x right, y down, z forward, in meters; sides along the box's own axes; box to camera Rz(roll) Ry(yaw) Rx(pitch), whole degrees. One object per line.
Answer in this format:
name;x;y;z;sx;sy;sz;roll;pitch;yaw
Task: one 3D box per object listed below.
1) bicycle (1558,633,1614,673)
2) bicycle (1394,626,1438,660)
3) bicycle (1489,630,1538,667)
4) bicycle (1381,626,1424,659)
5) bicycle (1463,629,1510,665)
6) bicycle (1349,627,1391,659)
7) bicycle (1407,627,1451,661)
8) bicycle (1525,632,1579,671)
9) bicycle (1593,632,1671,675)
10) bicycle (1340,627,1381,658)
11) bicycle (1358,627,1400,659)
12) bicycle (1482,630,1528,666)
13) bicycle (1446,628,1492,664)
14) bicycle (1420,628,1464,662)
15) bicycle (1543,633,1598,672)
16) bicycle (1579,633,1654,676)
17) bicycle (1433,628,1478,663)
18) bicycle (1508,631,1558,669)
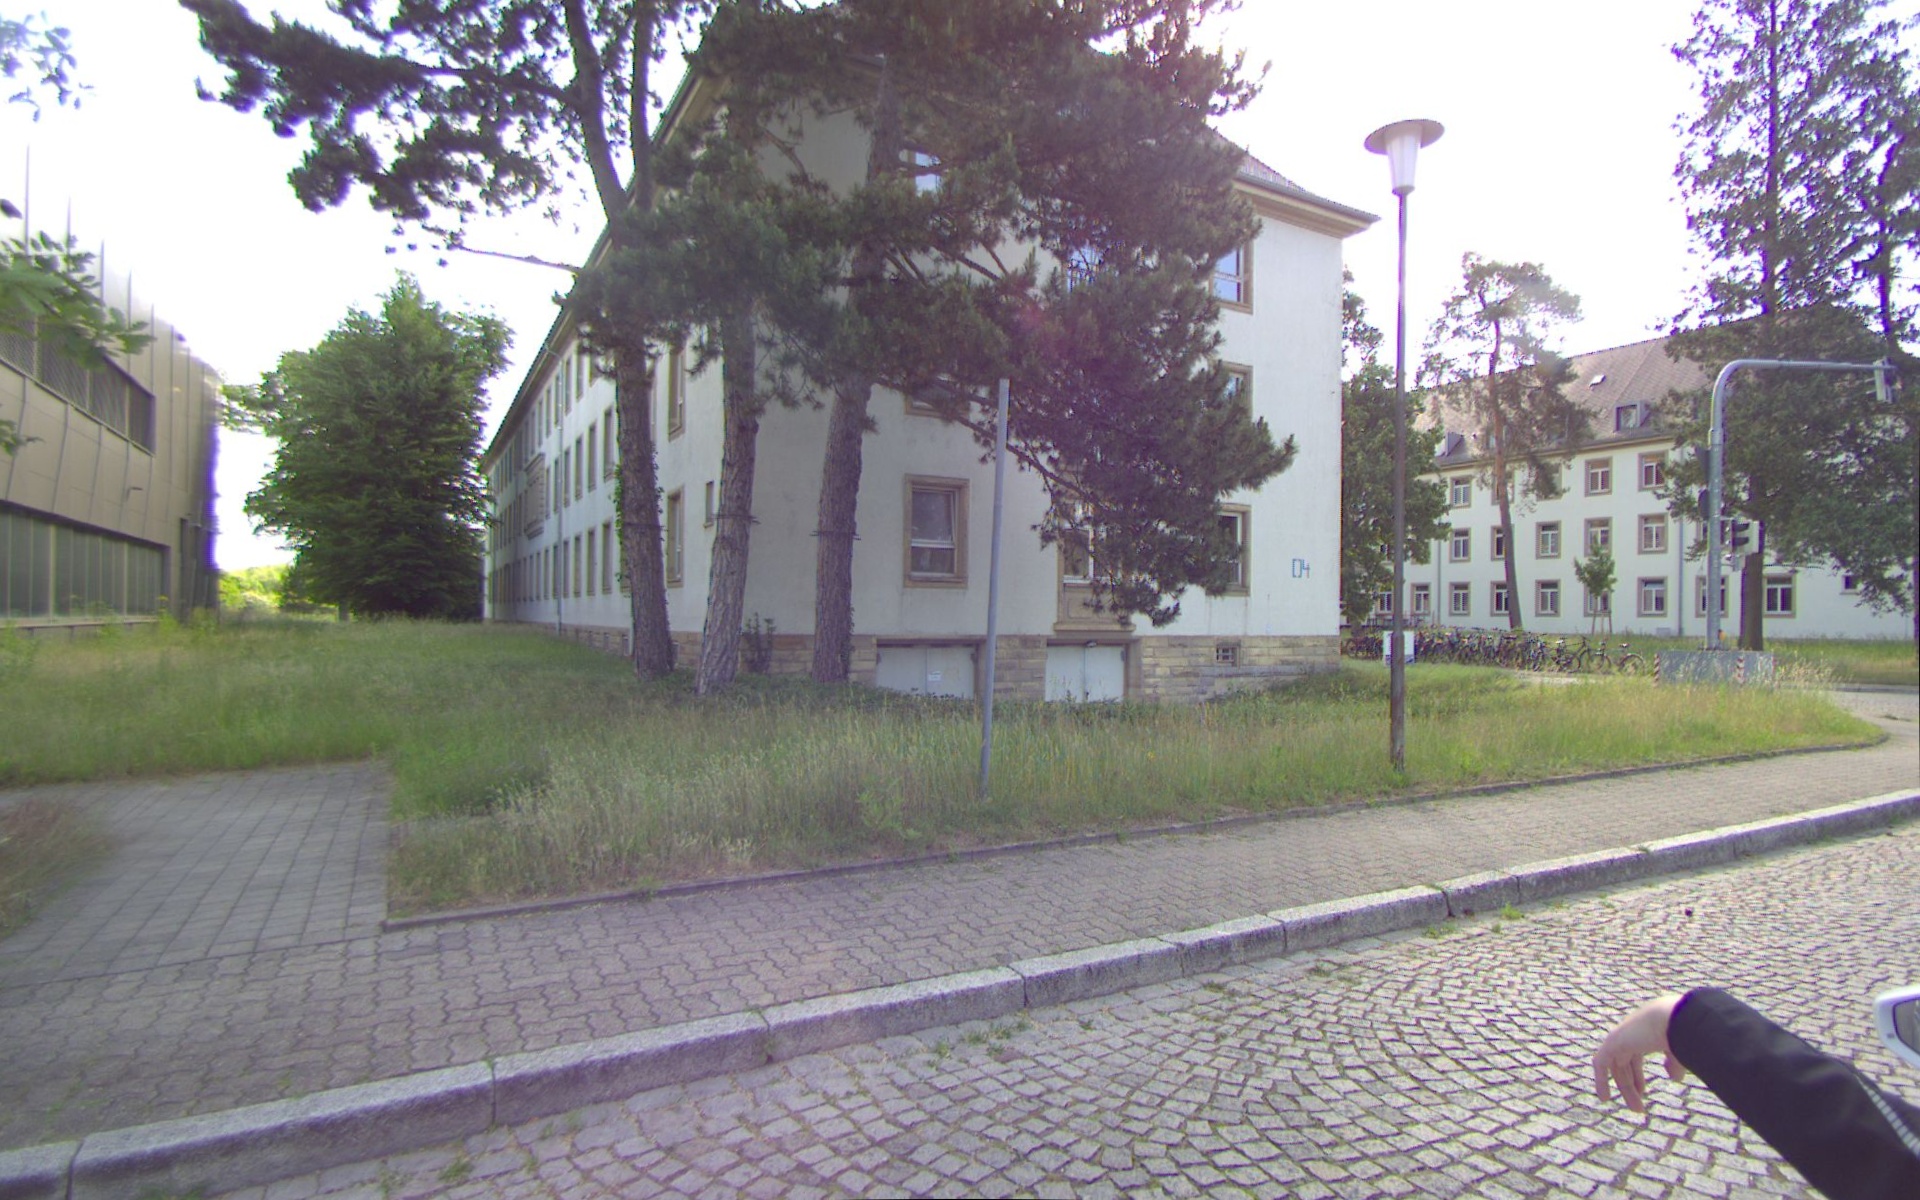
bicycle;20.046;1.686;32.159;2.089;1.237;0.630;1;-1;-31
bicycle;17.348;1.626;38.185;1.915;1.237;0.511;1;-1;-31
bicycle;19.166;1.672;34.761;2.005;1.237;0.576;1;-1;-31
bicycle;17.074;1.621;38.710;1.915;1.237;0.511;1;-1;-31
bicycle;18.759;1.662;35.781;1.992;1.237;0.511;1;-1;-31
bicycle;16.330;1.698;40.014;1.915;1.237;0.511;1;-1;-31
bicycle;17.597;1.655;37.698;1.915;1.237;0.511;1;-1;-31
bicycle;19.512;1.676;33.105;2.080;1.237;0.630;1;-1;-31
bicycle;20.674;1.632;30.950;0.627;1.237;1.936;1;-1;-29
bicycle;16.116;1.694;40.408;1.915;1.237;0.511;1;-1;-31
bicycle;16.540;1.676;39.641;1.915;1.237;0.511;1;-1;-31
bicycle;19.244;1.671;35.473;1.877;1.237;0.545;1;-1;-31
bicycle;18.403;1.654;36.321;1.954;1.237;0.511;1;-1;-31
bicycle;17.859;1.656;37.209;1.931;1.237;0.511;1;-1;-31
bicycle;19.802;1.682;32.575;2.099;1.237;0.630;1;-1;-31
bicycle;20.017;1.640;30.680;0.627;1.237;1.853;1;-1;-29
bicycle;18.144;1.645;36.769;1.954;1.237;0.511;1;-1;-31
bicycle;19.421;1.675;34.044;1.966;1.237;0.569;1;-1;-31
